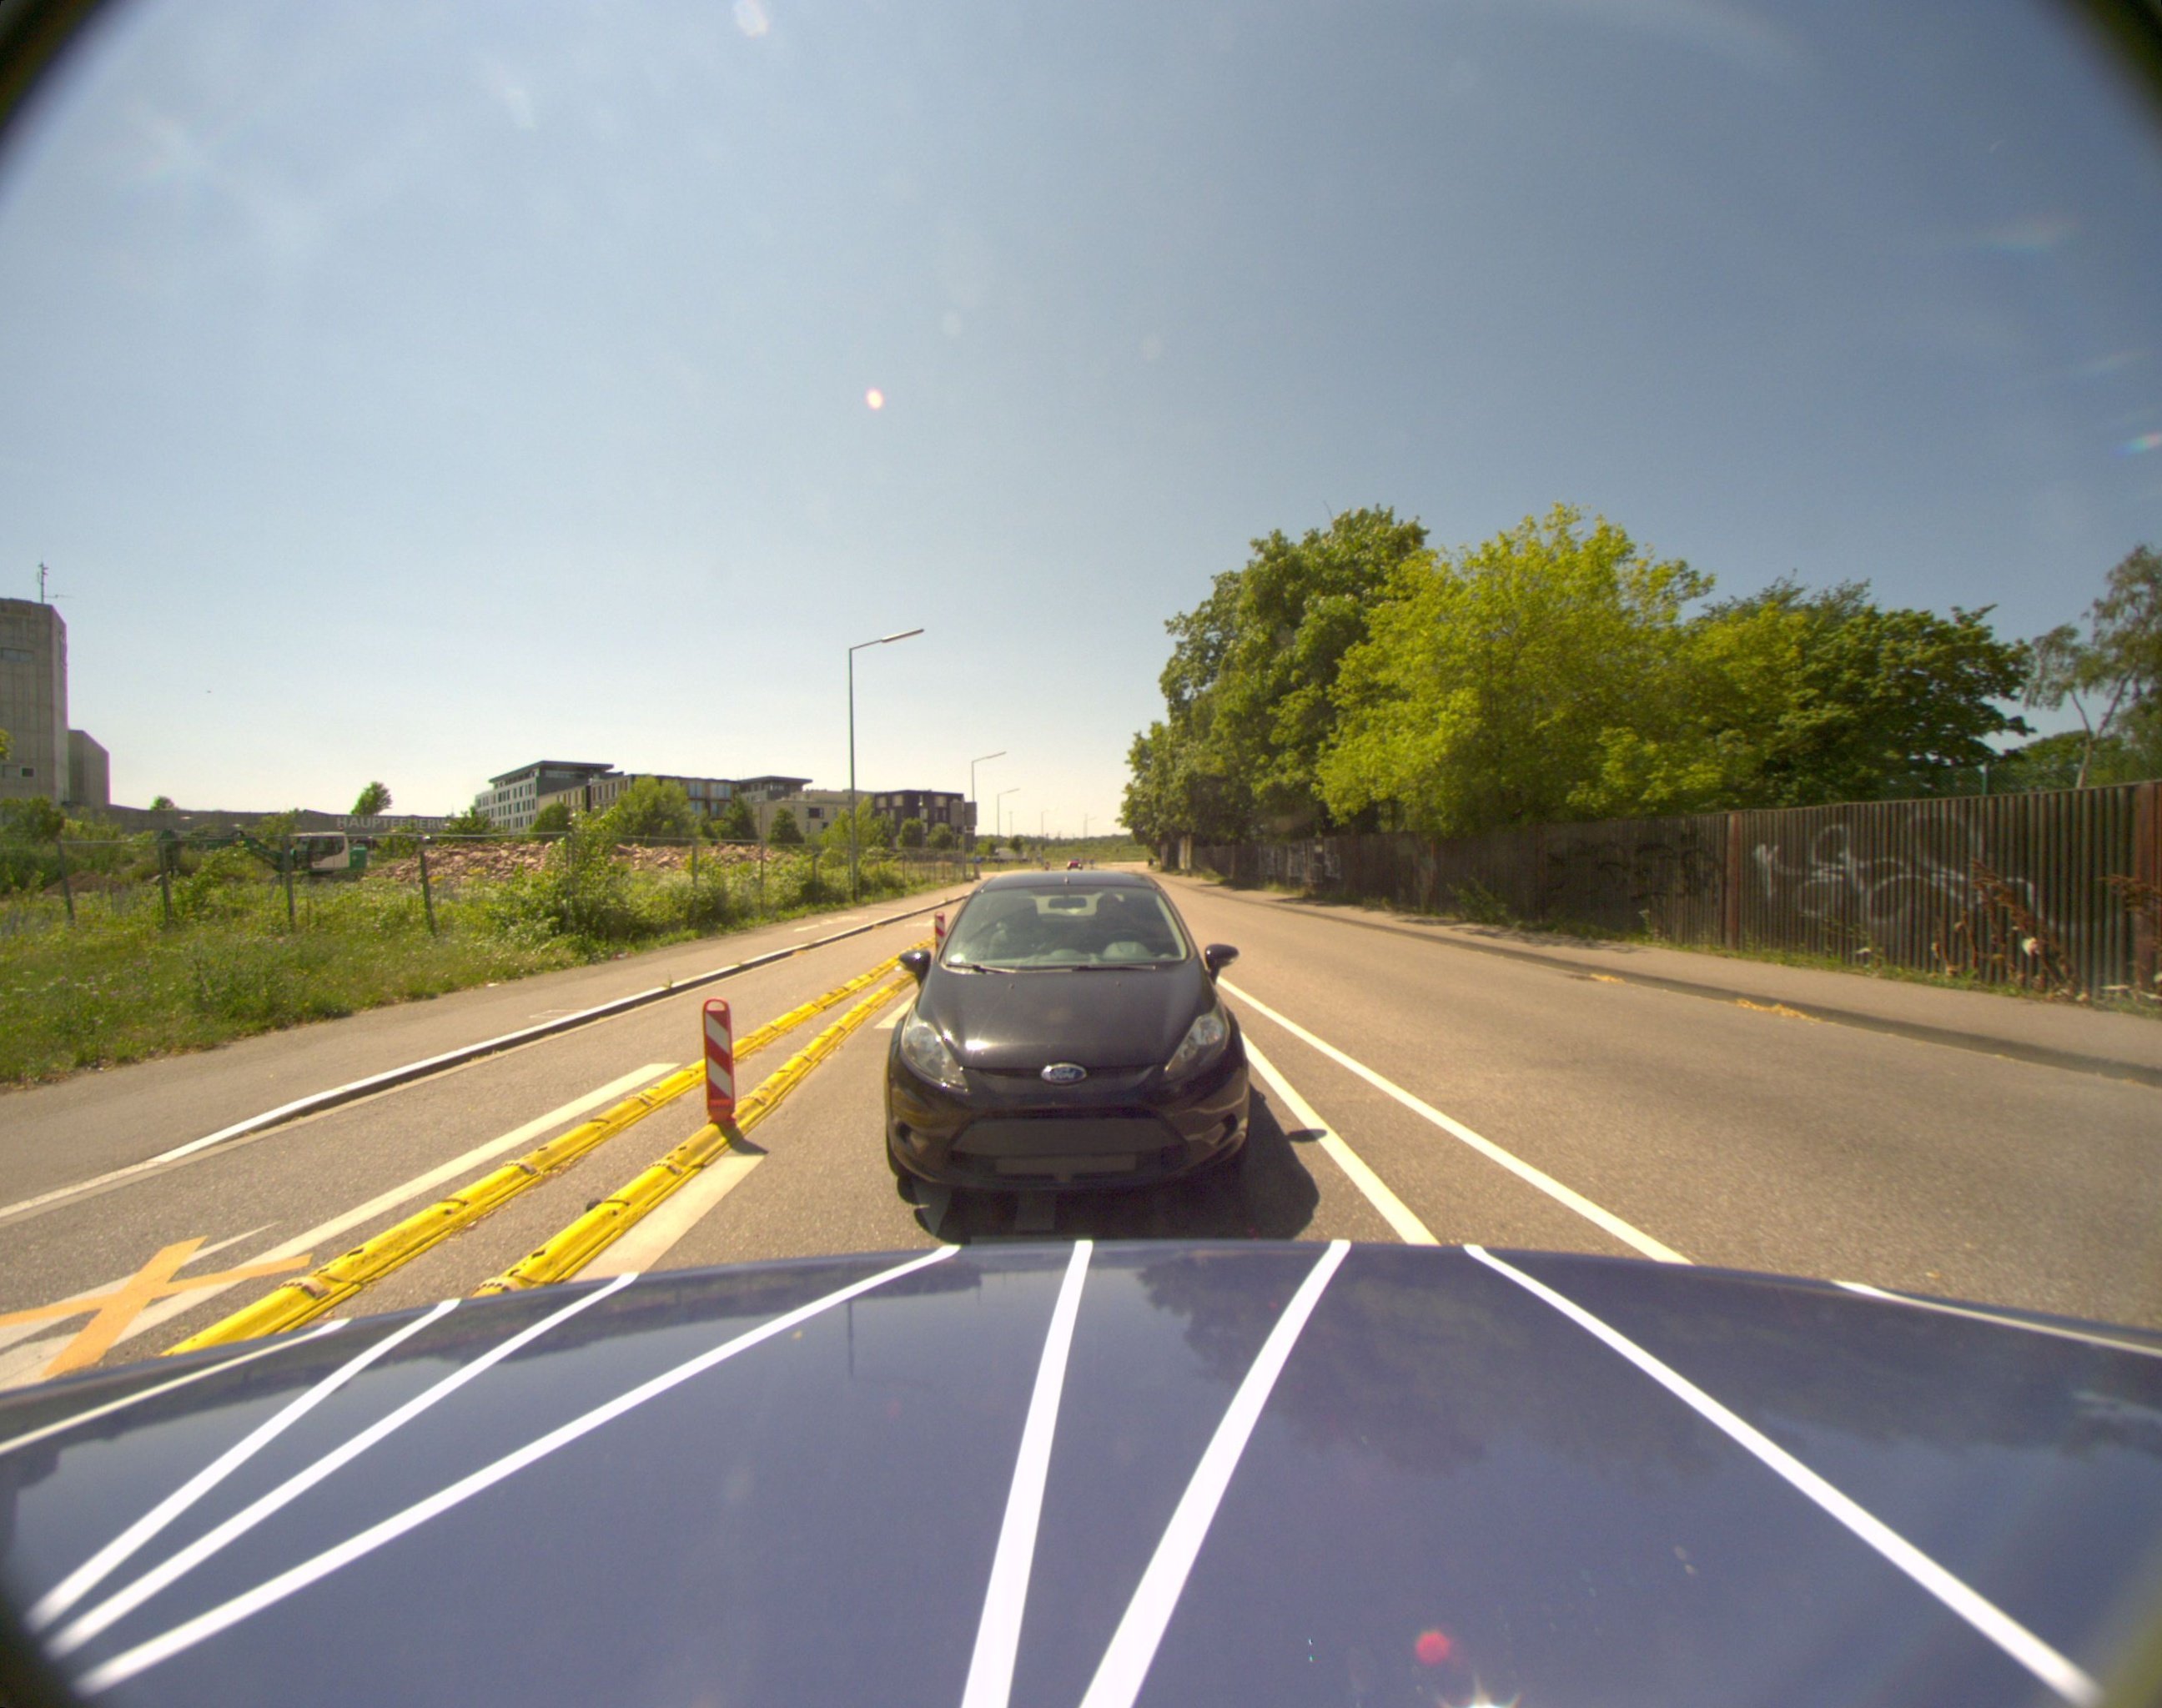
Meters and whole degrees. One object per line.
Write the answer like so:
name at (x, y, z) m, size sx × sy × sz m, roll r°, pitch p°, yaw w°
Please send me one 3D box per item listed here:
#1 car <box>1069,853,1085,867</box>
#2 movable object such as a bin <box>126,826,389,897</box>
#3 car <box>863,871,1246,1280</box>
car at (-0.519, 0.692, 98.079) m, size 1.924 × 1.643 × 4.668 m, roll -2°, pitch 1°, yaw 1°
movable object such as a bin at (-38.360, 0.248, 35.929) m, size 3.231 × 2.899 × 7.702 m, roll -2°, pitch 1°, yaw 15°
car at (-0.080, 0.970, 5.145) m, size 1.528 × 1.510 × 3.999 m, roll -2°, pitch 1°, yaw 1°
